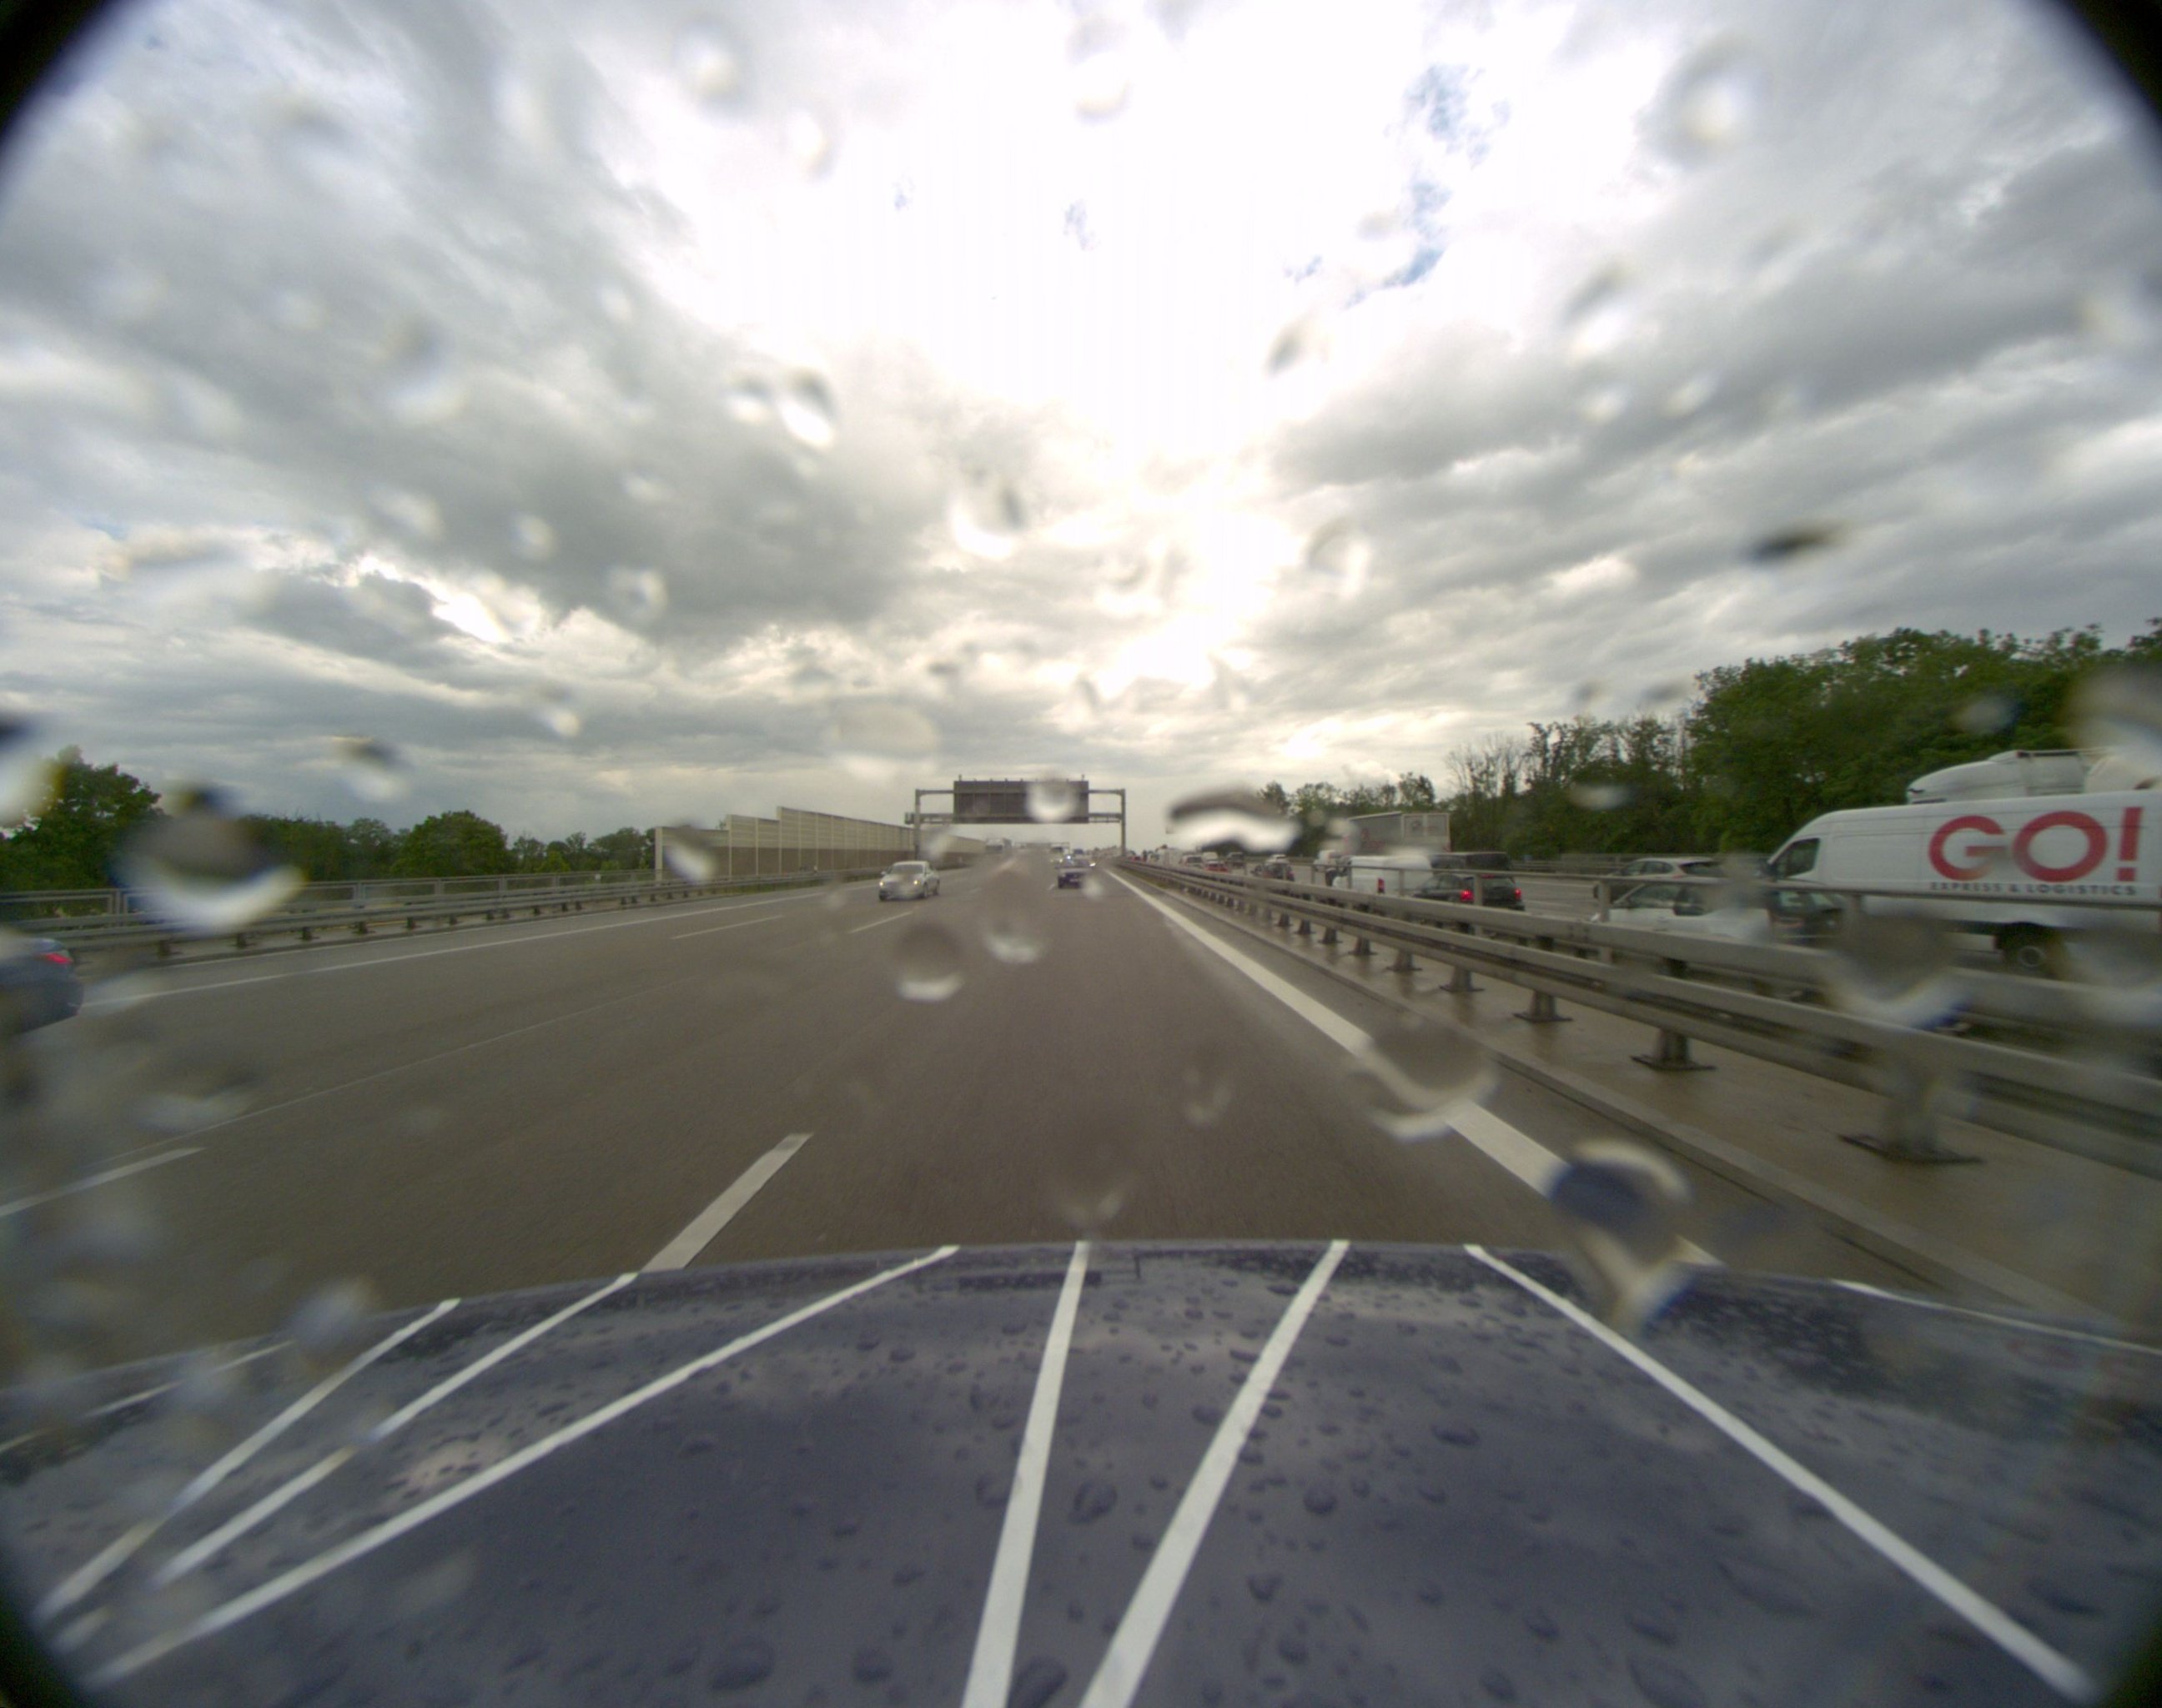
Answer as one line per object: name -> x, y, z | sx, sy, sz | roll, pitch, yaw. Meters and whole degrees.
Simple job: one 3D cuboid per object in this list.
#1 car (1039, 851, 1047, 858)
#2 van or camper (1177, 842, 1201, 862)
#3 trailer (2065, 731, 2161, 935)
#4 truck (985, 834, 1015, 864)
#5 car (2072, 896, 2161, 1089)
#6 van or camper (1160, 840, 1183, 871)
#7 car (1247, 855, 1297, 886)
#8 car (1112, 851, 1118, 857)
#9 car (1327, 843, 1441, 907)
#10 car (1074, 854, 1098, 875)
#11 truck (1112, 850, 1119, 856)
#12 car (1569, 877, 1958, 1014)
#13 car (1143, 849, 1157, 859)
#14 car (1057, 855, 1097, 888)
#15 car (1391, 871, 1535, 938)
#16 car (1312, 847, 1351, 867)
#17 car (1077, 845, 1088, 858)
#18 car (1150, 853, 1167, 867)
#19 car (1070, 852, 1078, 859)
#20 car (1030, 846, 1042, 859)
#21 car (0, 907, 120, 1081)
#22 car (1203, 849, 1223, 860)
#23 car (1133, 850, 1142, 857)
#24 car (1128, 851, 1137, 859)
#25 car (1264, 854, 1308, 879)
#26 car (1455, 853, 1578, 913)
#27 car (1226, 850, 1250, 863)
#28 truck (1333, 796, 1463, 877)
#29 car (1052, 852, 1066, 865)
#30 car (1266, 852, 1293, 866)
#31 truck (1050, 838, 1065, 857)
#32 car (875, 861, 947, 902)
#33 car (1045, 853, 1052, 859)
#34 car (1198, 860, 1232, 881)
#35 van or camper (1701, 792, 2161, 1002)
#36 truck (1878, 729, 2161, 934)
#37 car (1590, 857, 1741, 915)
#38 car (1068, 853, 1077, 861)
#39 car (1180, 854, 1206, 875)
car -> -9.463, 0.106, 188.816 | 1.884, 1.501, 4.213 | -1, 0, 0
van or camper -> 14.519, -0.234, 102.706 | 2.455, 2.562, 5.421 | -1, 0, 0
trailer -> 21.954, -0.405, 9.415 | 2.468, 3.935, 13.219 | -1, 0, 0
truck -> -11.453, -0.710, 108.657 | 3.255, 3.884, 12.311 | -2, 0, -1
car -> 10.223, 1.211, 4.685 | 1.794, 1.618, 4.927 | -1, 0, 0
van or camper -> 10.194, 0.144, 85.756 | 2.006, 3.381, 4.368 | -1, 0, 0
car -> 10.089, 0.839, 40.325 | 1.673, 1.497, 4.000 | -1, 0, 0
car -> 9.259, -0.011, 204.921 | 1.489, 1.467, 4.032 | -1, 0, 0
car -> 10.270, 0.644, 26.208 | 1.858, 1.974, 5.037 | -1, 0, 0
car -> 0.382, 0.790, 59.423 | 1.751, 1.489, 4.015 | -2, 1, 1
truck -> 11.255, -0.286, 245.732 | 1.998, 1.749, 3.999 | -1, 0, 0
car -> 9.865, 1.197, 11.630 | 1.794, 1.501, 4.602 | -1, 0, 0
car -> 10.448, -0.031, 115.445 | 1.737, 1.565, 4.000 | -1, 0, 0
car -> -0.164, 0.805, 36.428 | 1.781, 1.399, 5.016 | -2, 0, 0
car -> 10.021, 1.261, 20.315 | 1.684, 1.480, 4.226 | -1, 0, 0
car -> 21.912, 0.282, 66.718 | 2.025, 1.691, 4.331 | -1, 0, 0
car -> 0.268, -0.557, 142.463 | 1.998, 2.354, 4.172 | -2, 1, 1
car -> 10.718, 0.803, 105.060 | 1.998, 1.956, 4.000 | -1, 0, 0
car -> -2.018, 0.434, 213.408 | 1.998, 1.805, 4.000 | -1, 0, 0
car -> -8.695, -0.286, 146.677 | 2.036, 2.587, 4.514 | -1, 1, 1
car -> -10.190, 1.256, 5.025 | 1.781, 1.438, 4.588 | -2, 0, 0
car -> 18.283, 0.036, 105.458 | 2.025, 1.504, 4.000 | -1, 0, 0
car -> 13.054, -0.054, 176.166 | 1.737, 1.565, 4.000 | -1, 0, 0
car -> 10.181, 0.236, 150.552 | 1.489, 1.467, 4.032 | -1, 0, 0
car -> 14.238, 0.850, 53.004 | 1.932, 1.606, 4.421 | -1, 0, 0
car -> 14.305, 0.880, 25.244 | 1.709, 1.829, 4.114 | -1, 0, 0
car -> 18.625, 0.285, 90.071 | 2.025, 1.504, 4.000 | -1, 0, 0
truck -> 18.530, -0.932, 45.503 | 3.266, 4.267, 10.868 | -1, 0, 0
car -> -3.177, 0.639, 110.458 | 1.962, 1.831, 3.999 | -1, 1, 0
car -> 22.288, 0.589, 85.397 | 2.025, 1.504, 4.000 | -1, 0, 0
truck -> -5.069, -1.372, 161.064 | 2.958, 3.777, 12.325 | -2, 0, -2
car -> -6.769, 1.049, 30.795 | 1.898, 1.438, 4.245 | -2, 0, 0
car -> -10.140, 0.566, 238.746 | 1.998, 1.805, 4.000 | -1, 0, 0
car -> 9.760, 1.179, 55.564 | 1.757, 1.464, 4.034 | -1, 0, 0
van or camper -> 14.362, 0.503, 12.666 | 2.039, 2.589, 7.458 | -1, 0, 0
truck -> 22.005, -0.450, 16.319 | 2.468, 3.942, 6.982 | -1, 0, 0
car -> 17.883, 0.915, 23.510 | 1.623, 1.606, 4.000 | -1, 0, 0
car -> -2.093, 0.648, 182.301 | 1.998, 1.805, 4.000 | -1, 0, 0
car -> 10.326, 0.924, 70.239 | 1.826, 1.831, 4.034 | -1, 0, 0
